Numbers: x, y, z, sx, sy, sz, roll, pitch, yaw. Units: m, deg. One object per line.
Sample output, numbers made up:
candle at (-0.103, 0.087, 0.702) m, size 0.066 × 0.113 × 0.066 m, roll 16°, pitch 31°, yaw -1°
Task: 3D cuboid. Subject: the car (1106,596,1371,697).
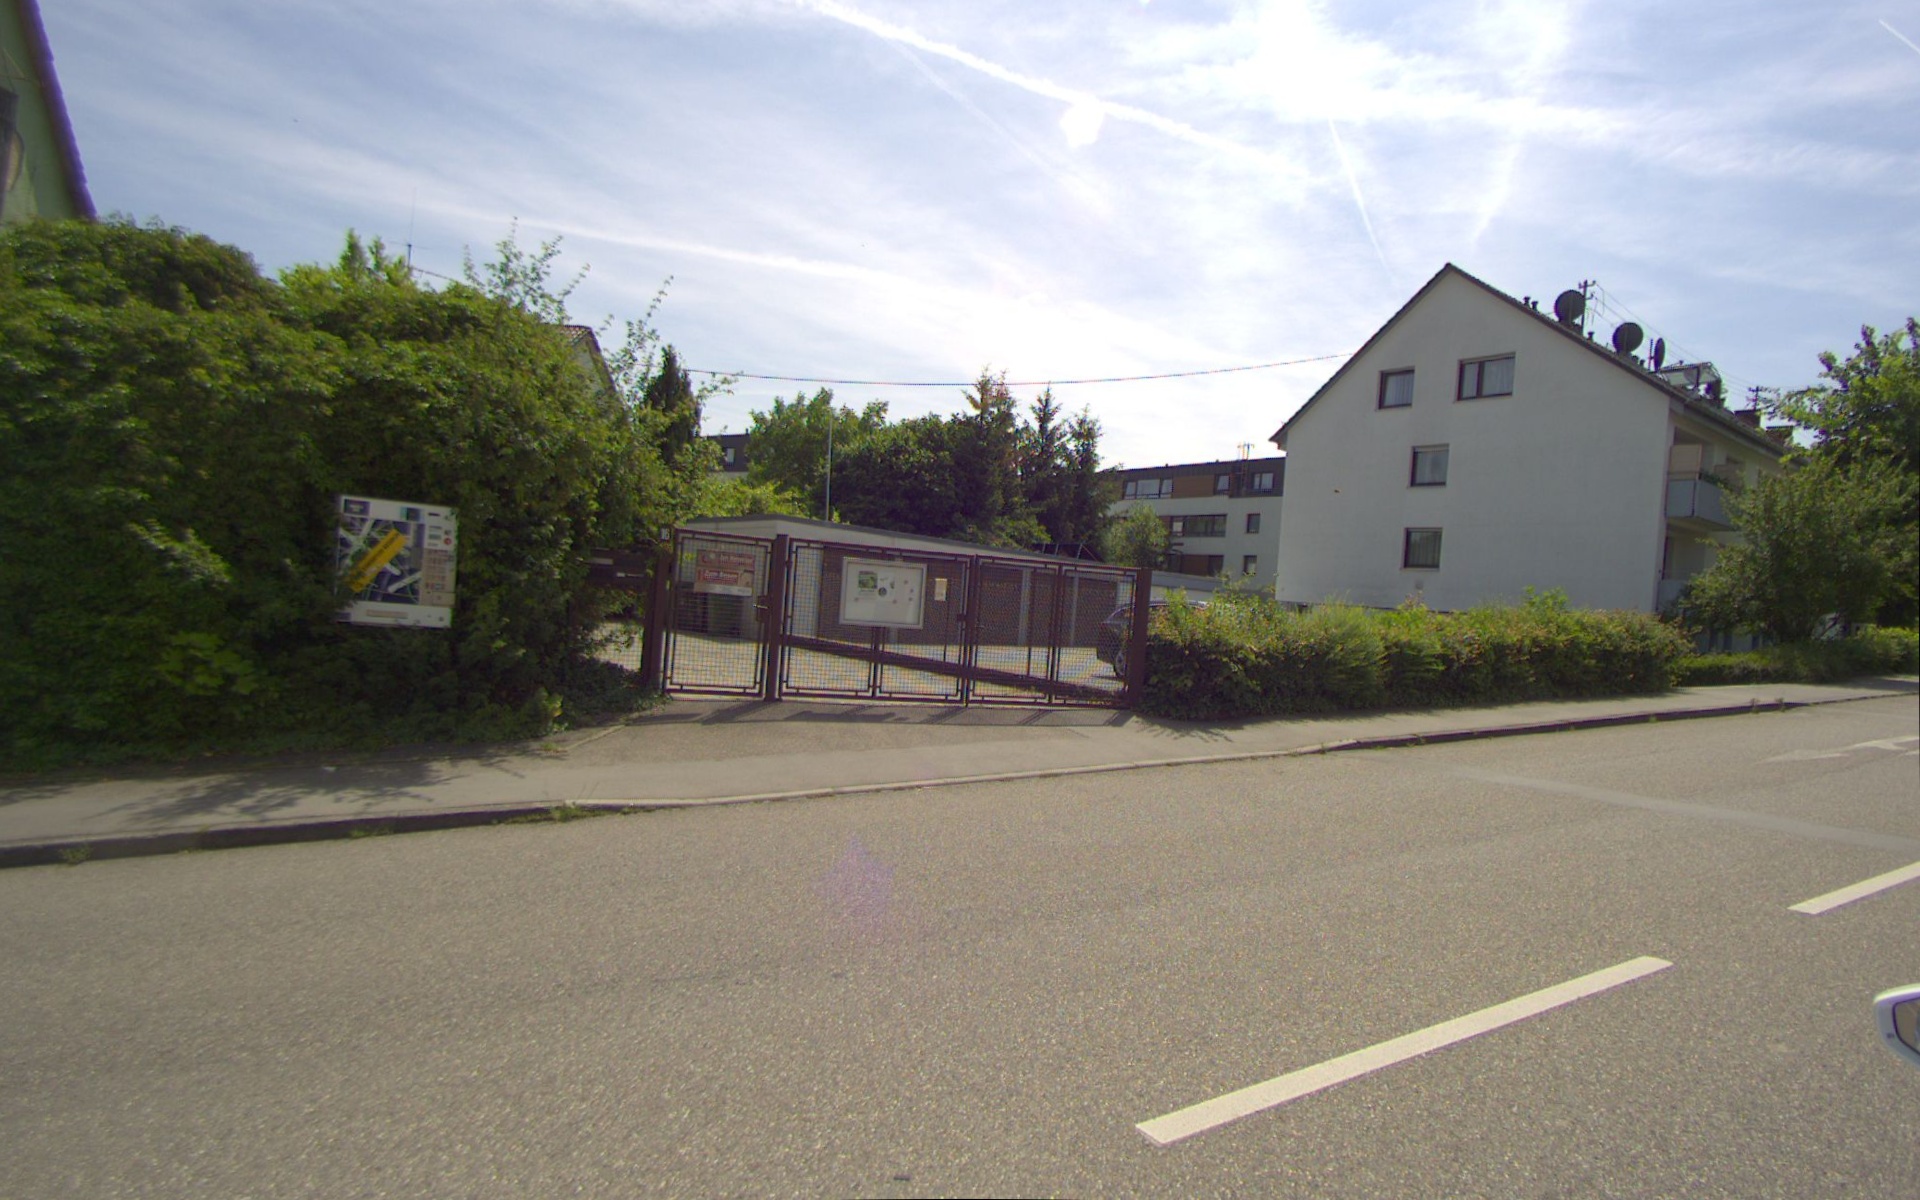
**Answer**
car at (4.597, 0.699, 17.062) m, size 1.981 × 1.405 × 3.958 m, roll 1°, pitch 1°, yaw -36°
